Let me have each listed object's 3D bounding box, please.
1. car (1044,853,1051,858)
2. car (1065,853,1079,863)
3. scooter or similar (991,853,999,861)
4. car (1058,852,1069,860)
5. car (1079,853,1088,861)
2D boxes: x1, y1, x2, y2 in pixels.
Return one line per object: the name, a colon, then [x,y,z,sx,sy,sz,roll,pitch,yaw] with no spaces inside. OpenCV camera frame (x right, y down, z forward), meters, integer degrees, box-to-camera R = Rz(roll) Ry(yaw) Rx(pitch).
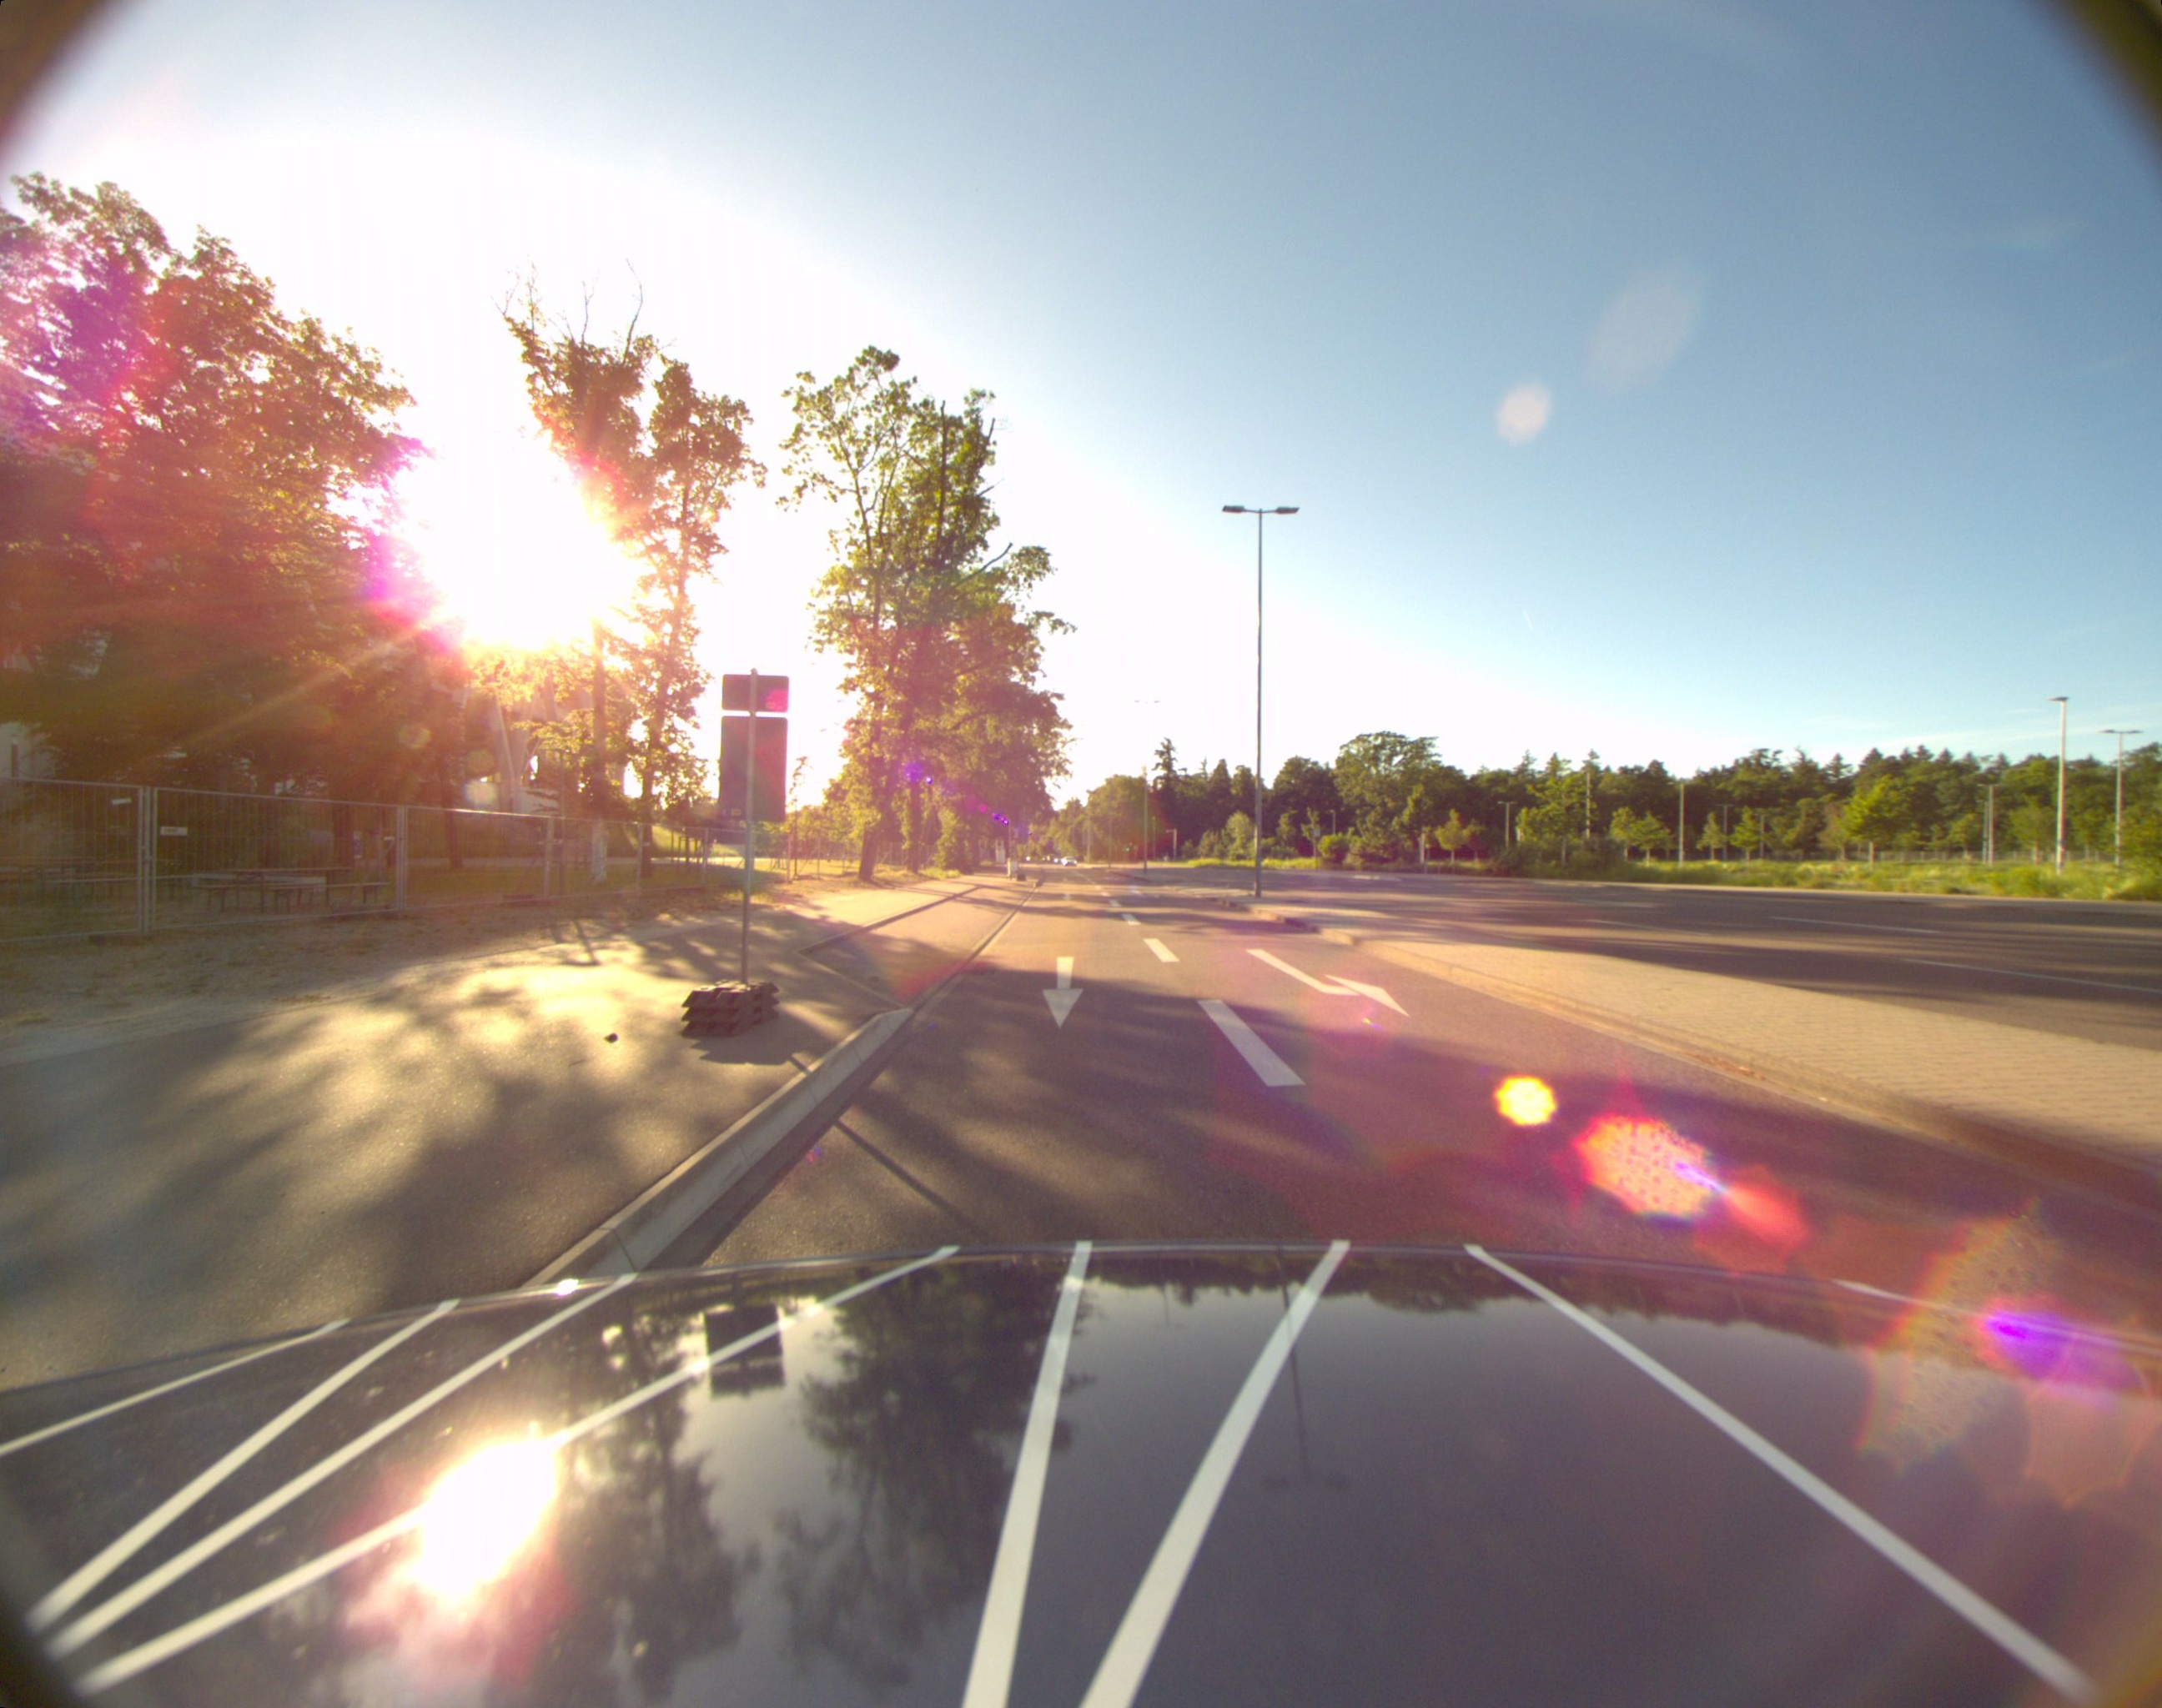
car: [-8.959,0.368,203.137,1.842,1.395,4.989,-1,0,-5]
car: [-1.311,0.510,110.290,1.841,1.395,3.998,-1,0,-3]
scooter or similar: [-14.136,0.468,125.064,1.303,1.230,0.334,0,0,-38]
car: [-3.245,0.411,137.352,1.841,1.395,4.990,-1,0,-3]
car: [0.644,0.730,185.028,1.788,1.682,4.701,-1,0,-3]
